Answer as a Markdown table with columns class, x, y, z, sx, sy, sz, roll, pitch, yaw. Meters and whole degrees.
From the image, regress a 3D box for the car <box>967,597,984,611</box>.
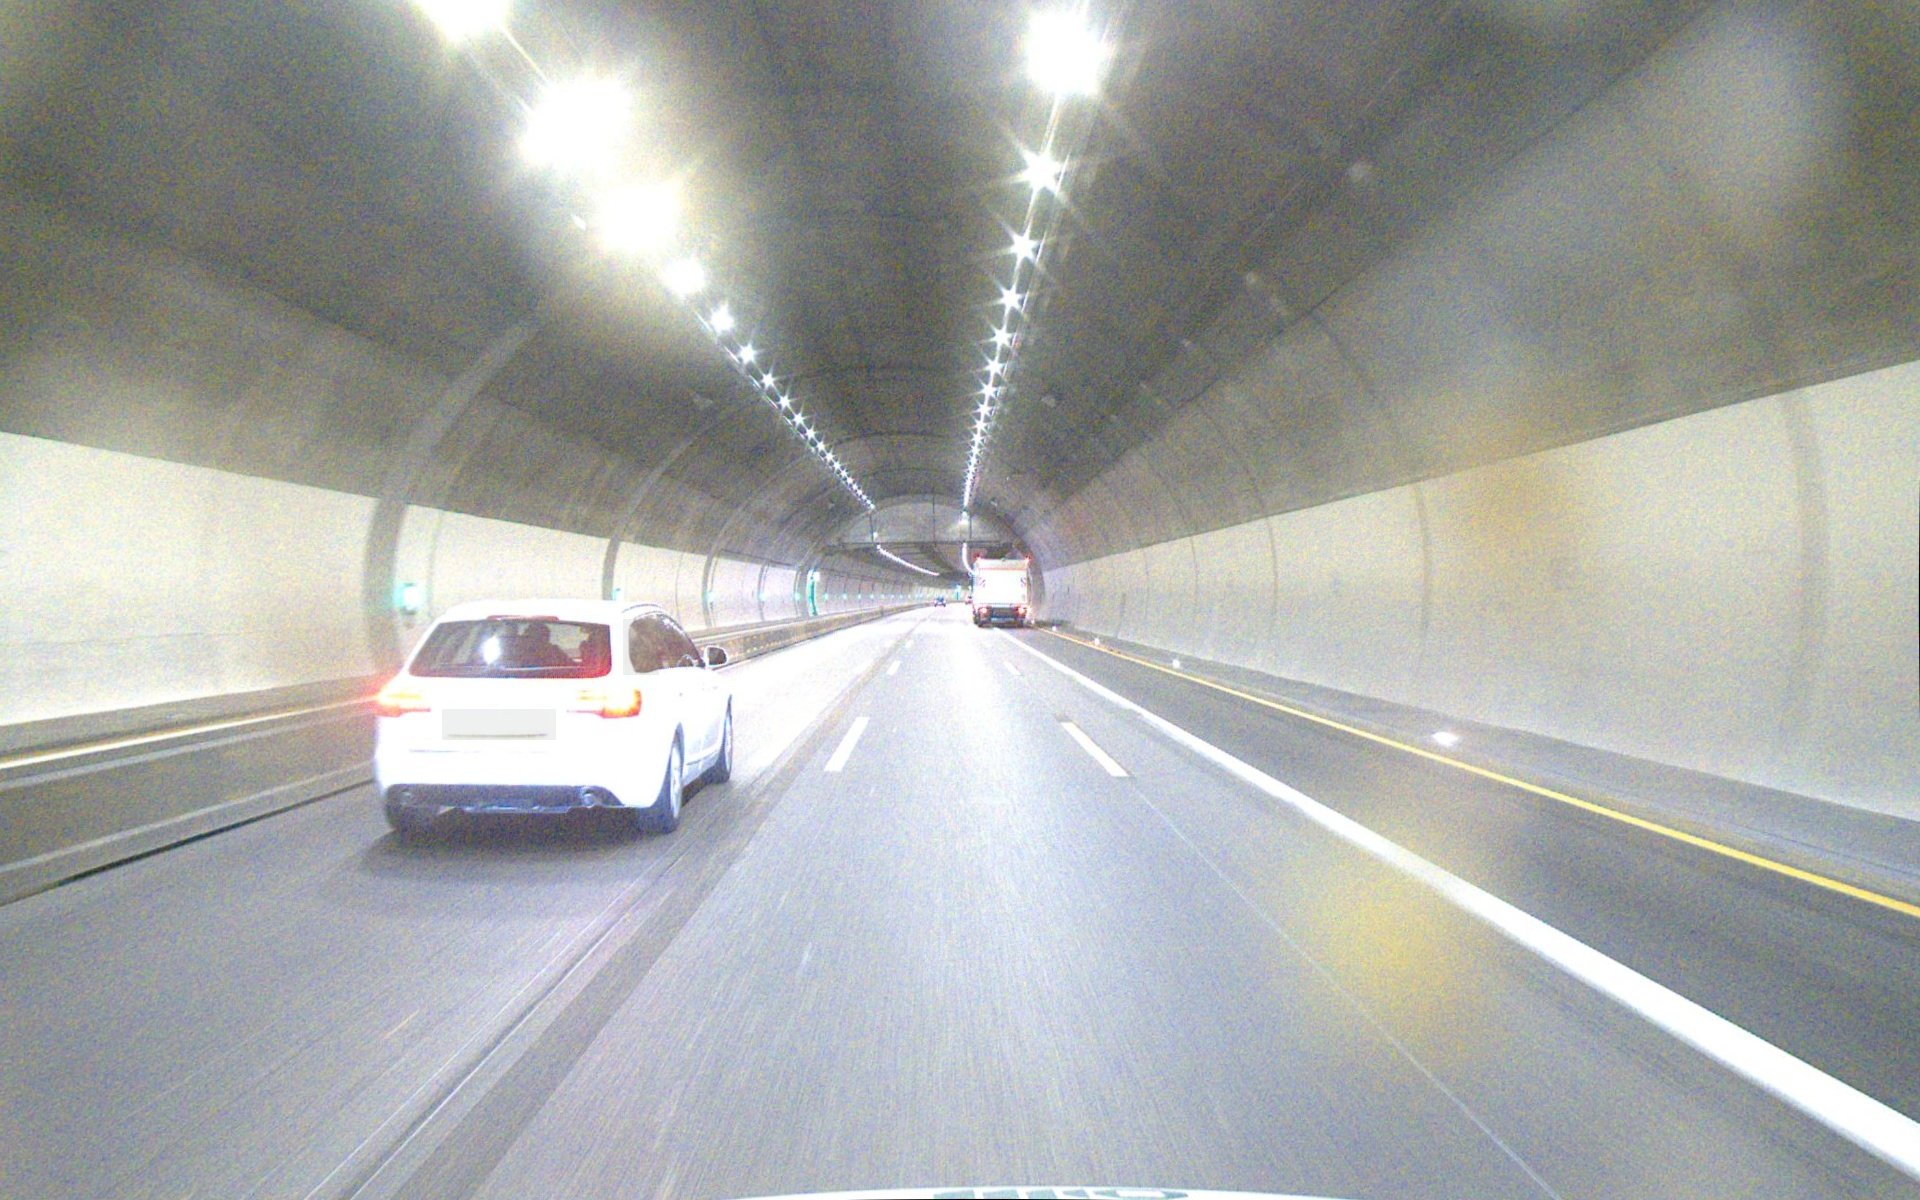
| class | x | y | z | sx | sy | sz | roll | pitch | yaw |
| --- | --- | --- | --- | --- | --- | --- | --- | --- | --- |
| car | 1.697 | 0.422 | 177.510 | 1.703 | 1.486 | 3.961 | -2 | 1 | 1 |

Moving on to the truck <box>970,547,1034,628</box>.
| class | x | y | z | sx | sy | sz | roll | pitch | yaw |
| --- | --- | --- | --- | --- | --- | --- | --- | --- | --- |
| truck | 2.122 | -0.578 | 87.783 | 3.029 | 3.986 | 10.366 | -1 | -1 | 0 |

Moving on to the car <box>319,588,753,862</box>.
| class | x | y | z | sx | sy | sz | roll | pitch | yaw |
| --- | --- | --- | --- | --- | --- | --- | --- | --- | --- |
| car | -2.653 | 0.705 | 11.630 | 1.865 | 1.511 | 4.942 | 0 | 0 | -1 |

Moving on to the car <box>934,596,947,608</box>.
| class | x | y | z | sx | sy | sz | roll | pitch | yaw |
| --- | --- | --- | --- | --- | --- | --- | --- | --- | --- |
| car | -2.749 | 0.275 | 233.577 | 1.723 | 1.486 | 4.118 | -2 | 1 | 0 |
